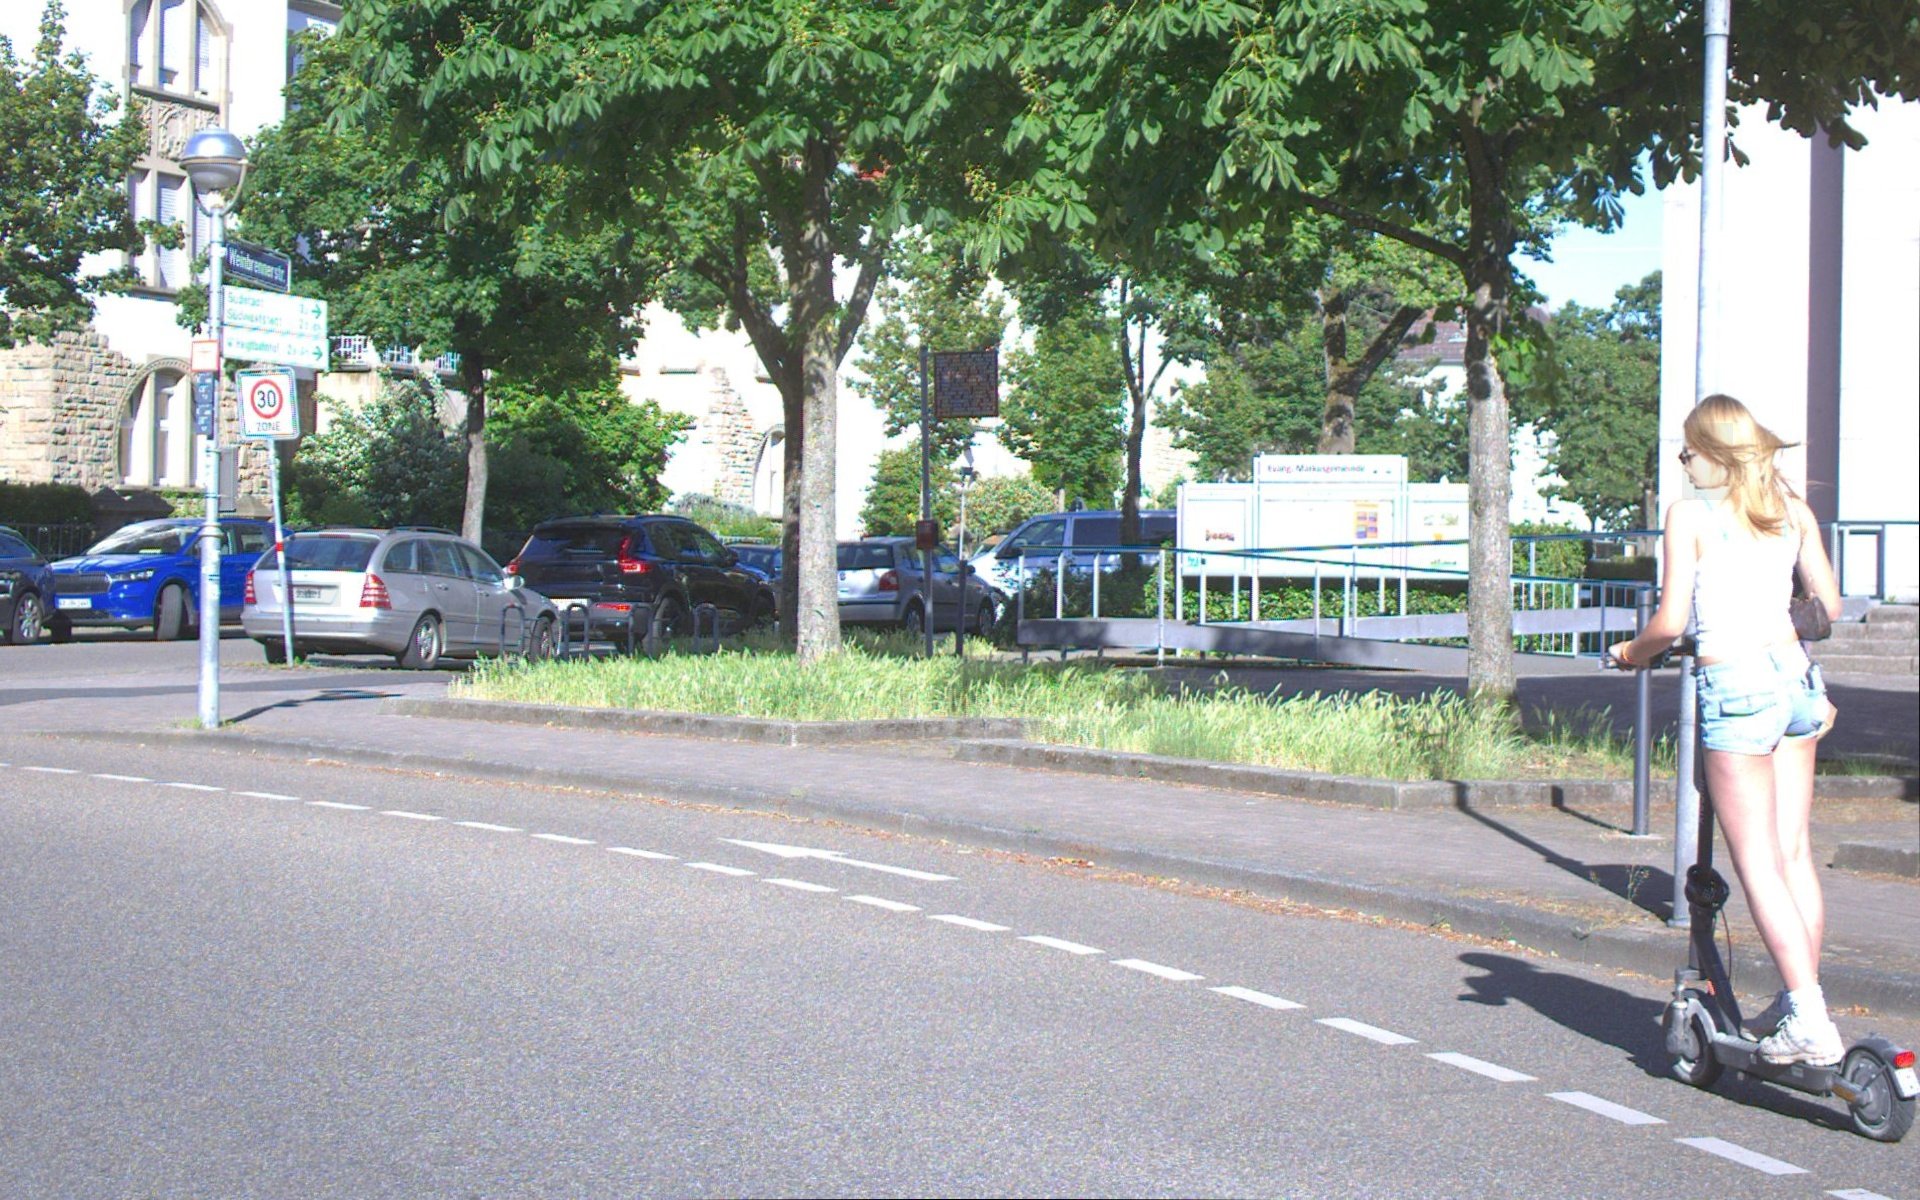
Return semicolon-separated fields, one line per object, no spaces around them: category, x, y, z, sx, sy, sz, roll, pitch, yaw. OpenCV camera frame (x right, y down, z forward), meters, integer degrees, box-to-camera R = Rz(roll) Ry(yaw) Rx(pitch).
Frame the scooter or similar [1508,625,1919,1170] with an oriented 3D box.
scooter or similar;1.965;0.726;8.908;0.630;1.278;1.106;1;1;-17

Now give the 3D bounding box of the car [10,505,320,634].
car;-10.273;-0.405;44.754;1.805;1.556;4.395;-1;0;20

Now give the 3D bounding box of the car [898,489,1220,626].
car;1.588;-0.686;54.756;4.767;1.994;1.808;2;1;16

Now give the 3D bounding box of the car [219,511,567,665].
car;-5.693;-0.143;35.074;1.805;1.411;4.335;2;1;16

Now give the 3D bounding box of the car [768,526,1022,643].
car;-0.832;-0.220;47.194;1.806;1.469;4.333;2;1;23

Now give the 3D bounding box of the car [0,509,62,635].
car;-12.282;-0.299;39.611;1.805;1.478;4.335;-1;0;15

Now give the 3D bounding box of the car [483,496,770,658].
car;-3.778;-0.281;39.726;1.805;1.722;4.335;2;1;16

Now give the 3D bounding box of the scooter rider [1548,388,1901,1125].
scooter rider;1.967;0.385;8.900;0.623;1.825;0.632;1;1;-17
